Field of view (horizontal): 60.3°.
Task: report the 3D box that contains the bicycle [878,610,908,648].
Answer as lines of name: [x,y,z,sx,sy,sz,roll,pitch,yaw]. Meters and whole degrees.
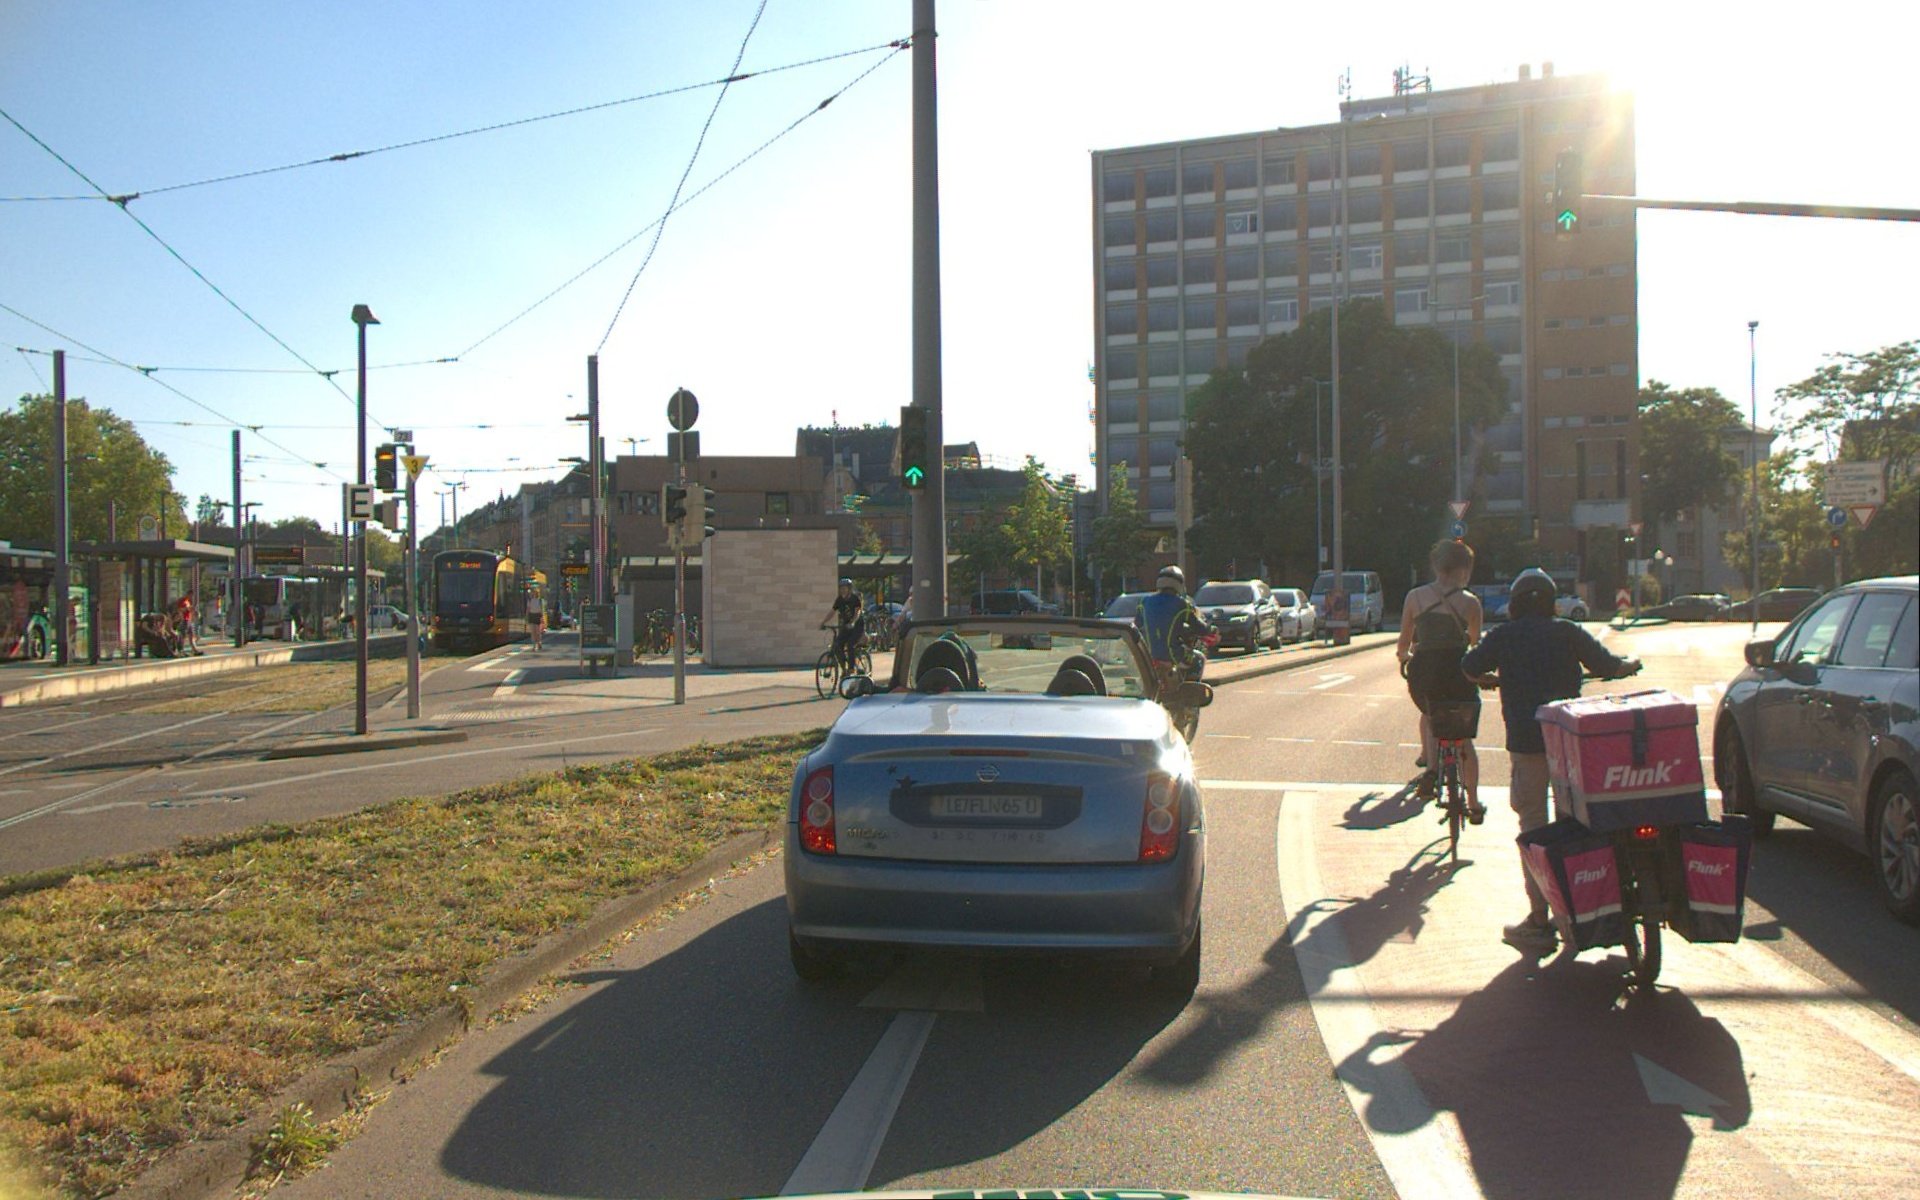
bicycle: [-2.082,0.886,51.253,0.596,1.134,1.890,1,0,-13]

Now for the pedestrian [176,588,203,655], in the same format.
pedestrian: [-20.701,0.582,44.440,0.561,1.779,0.637,-1,0,-17]

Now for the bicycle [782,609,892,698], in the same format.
bicycle: [-1.881,0.811,25.798,0.660,1.272,2.457,-3,-1,21]

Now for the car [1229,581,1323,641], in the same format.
car: [8.862,0.285,46.149,1.661,1.588,3.977,-1,0,25]

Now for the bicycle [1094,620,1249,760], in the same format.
bicycle: [2.036,0.800,15.599,0.596,1.212,2.410,1,0,29]

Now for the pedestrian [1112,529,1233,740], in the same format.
pedestrian: [2.005,0.313,15.555,0.818,1.901,0.919,1,-1,30]

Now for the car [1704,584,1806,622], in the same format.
car: [35.212,0.131,73.299,3.912,1.557,1.802,-2,0,30]

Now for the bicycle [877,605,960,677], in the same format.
bicycle: [-0.705,0.701,29.185,0.660,1.201,2.183,-1,0,21]

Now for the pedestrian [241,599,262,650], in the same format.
pedestrian: [-24.829,0.854,57.966,0.630,1.779,0.567,-1,0,-27]

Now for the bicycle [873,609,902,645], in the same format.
bicycle: [-2.331,0.867,53.221,0.596,1.134,1.890,1,0,-13]

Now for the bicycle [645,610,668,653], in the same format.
bicycle: [-8.419,0.861,45.881,0.596,1.134,1.891,1,0,-11]

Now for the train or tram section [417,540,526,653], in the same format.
train or tram section: [-17.639,-0.105,60.441,2.831,3.659,12.161,1,0,-12]

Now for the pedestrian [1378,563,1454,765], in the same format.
pedestrian: [3.838,0.517,13.898,0.575,1.626,1.025,1,-1,16]

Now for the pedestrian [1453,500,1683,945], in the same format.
pedestrian: [2.764,0.523,7.619,0.789,1.901,0.957,1,-1,8]

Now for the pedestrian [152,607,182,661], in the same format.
pedestrian: [-20.089,0.856,41.902,0.606,1.364,0.438,-1,0,-18]

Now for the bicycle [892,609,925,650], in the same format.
bicycle: [-1.490,0.831,47.575,0.596,1.134,1.890,1,0,-13]

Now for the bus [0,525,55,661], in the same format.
bus: [-23.557,-0.178,37.204,2.606,3.190,9.619,1,0,-10]

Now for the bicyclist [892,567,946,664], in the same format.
bicyclist: [-0.713,0.274,29.180,0.694,1.686,0.743,-1,0,21]

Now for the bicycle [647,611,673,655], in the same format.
bicycle: [-7.987,0.860,43.962,0.596,1.134,1.890,1,0,-13]

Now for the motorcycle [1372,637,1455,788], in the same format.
motorcycle: [3.842,0.895,13.927,0.600,1.117,2.361,1,0,17]

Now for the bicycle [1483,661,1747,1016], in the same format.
bicycle: [2.737,0.901,7.154,0.542,1.192,2.374,1,0,9]

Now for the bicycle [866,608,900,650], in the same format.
bicycle: [-2.105,0.783,45.246,0.596,1.134,1.890,1,0,-13]

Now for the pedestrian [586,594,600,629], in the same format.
pedestrian: [-19.187,0.610,86.487,0.628,1.779,0.732,-1,0,-19]

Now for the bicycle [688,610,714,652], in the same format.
bicycle: [-7.274,0.862,46.367,0.596,1.134,1.890,1,0,-13]

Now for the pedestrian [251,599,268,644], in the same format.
pedestrian: [-27.939,0.837,65.975,0.562,1.779,0.636,-1,0,-20]

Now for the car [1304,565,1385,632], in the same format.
car: [12.396,-0.067,53.110,1.869,1.979,4.707,-3,-1,21]

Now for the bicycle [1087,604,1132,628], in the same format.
bicycle: [7.904,0.833,87.440,2.362,1.212,0.608,1,-1,30]

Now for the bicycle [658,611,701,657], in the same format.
bicycle: [-7.179,0.857,42.370,0.594,1.134,1.898,1,0,5]

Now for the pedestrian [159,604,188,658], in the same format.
pedestrian: [-20.247,0.803,42.582,0.561,1.369,0.637,-1,0,-17]

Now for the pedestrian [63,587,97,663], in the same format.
pedestrian: [-20.987,0.590,39.451,0.527,1.779,0.559,-1,0,-6]

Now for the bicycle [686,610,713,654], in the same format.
bicycle: [-6.984,0.845,44.308,0.596,1.134,1.890,1,0,-13]

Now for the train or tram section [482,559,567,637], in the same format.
train or tram section: [-22.036,-0.069,84.291,2.984,3.659,12.024,1,0,-10]

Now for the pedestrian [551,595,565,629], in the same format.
pedestrian: [-21.779,0.648,89.613,0.593,1.779,0.830,-1,0,-8]

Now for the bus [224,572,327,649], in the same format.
bus: [-32.726,0.467,79.589,2.675,3.331,13.413,1,0,-14]

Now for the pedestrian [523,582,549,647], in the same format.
pedestrian: [-11.644,0.398,45.427,0.628,1.779,0.569,-1,0,-19]

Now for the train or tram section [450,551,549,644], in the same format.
train or tram section: [-19.972,-0.083,72.396,2.957,3.659,12.169,1,0,-10]

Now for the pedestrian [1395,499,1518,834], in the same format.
pedestrian: [2.952,0.375,9.895,0.645,1.901,0.873,1,-1,14]

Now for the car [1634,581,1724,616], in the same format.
car: [34.817,-0.077,80.113,3.909,1.601,1.734,1,0,27]

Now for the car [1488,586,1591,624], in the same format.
car: [25.765,0.224,73.592,3.916,1.557,1.800,-2,0,-12]

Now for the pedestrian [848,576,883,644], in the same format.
pedestrian: [-2.674,0.286,46.764,0.885,1.901,0.685,1,-1,-13]

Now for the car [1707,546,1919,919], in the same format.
car: [5.586,0.633,8.958,1.792,1.719,4.372,1,0,11]

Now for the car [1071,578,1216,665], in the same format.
car: [3.711,0.415,32.907,1.702,1.601,3.921,1,0,25]

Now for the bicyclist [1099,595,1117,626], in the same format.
bicyclist: [7.830,0.568,87.490,0.737,1.626,0.588,1,-1,30]

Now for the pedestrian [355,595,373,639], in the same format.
pedestrian: [-24.417,0.692,67.751,0.630,1.779,0.567,-1,0,-27]

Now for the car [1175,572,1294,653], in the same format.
car: [6.575,0.272,39.193,1.726,1.736,4.529,-2,-1,23]

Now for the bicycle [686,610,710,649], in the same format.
bicycle: [-7.973,0.893,50.231,0.596,1.134,1.890,1,0,-13]

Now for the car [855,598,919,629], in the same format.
car: [-3.904,0.740,88.438,1.629,1.588,3.549,-1,0,-39]

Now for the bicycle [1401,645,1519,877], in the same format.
bicycle: [2.903,0.873,9.721,0.552,1.171,1.951,1,0,14]

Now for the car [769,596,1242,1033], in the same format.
car: [0.366,0.747,7.808,1.625,1.466,4.157,1,0,6]

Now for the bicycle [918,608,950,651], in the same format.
bicycle: [-0.725,0.808,45.570,0.595,1.134,1.892,1,0,-10]

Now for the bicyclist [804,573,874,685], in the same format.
bicyclist: [-1.884,0.453,25.851,0.694,1.686,0.901,-3,-1,21]

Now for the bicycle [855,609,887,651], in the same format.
bicycle: [-2.553,0.844,47.171,0.596,1.134,1.890,1,0,-13]

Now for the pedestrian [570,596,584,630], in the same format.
pedestrian: [-19.973,0.678,86.254,0.628,1.779,0.732,-1,0,-19]
